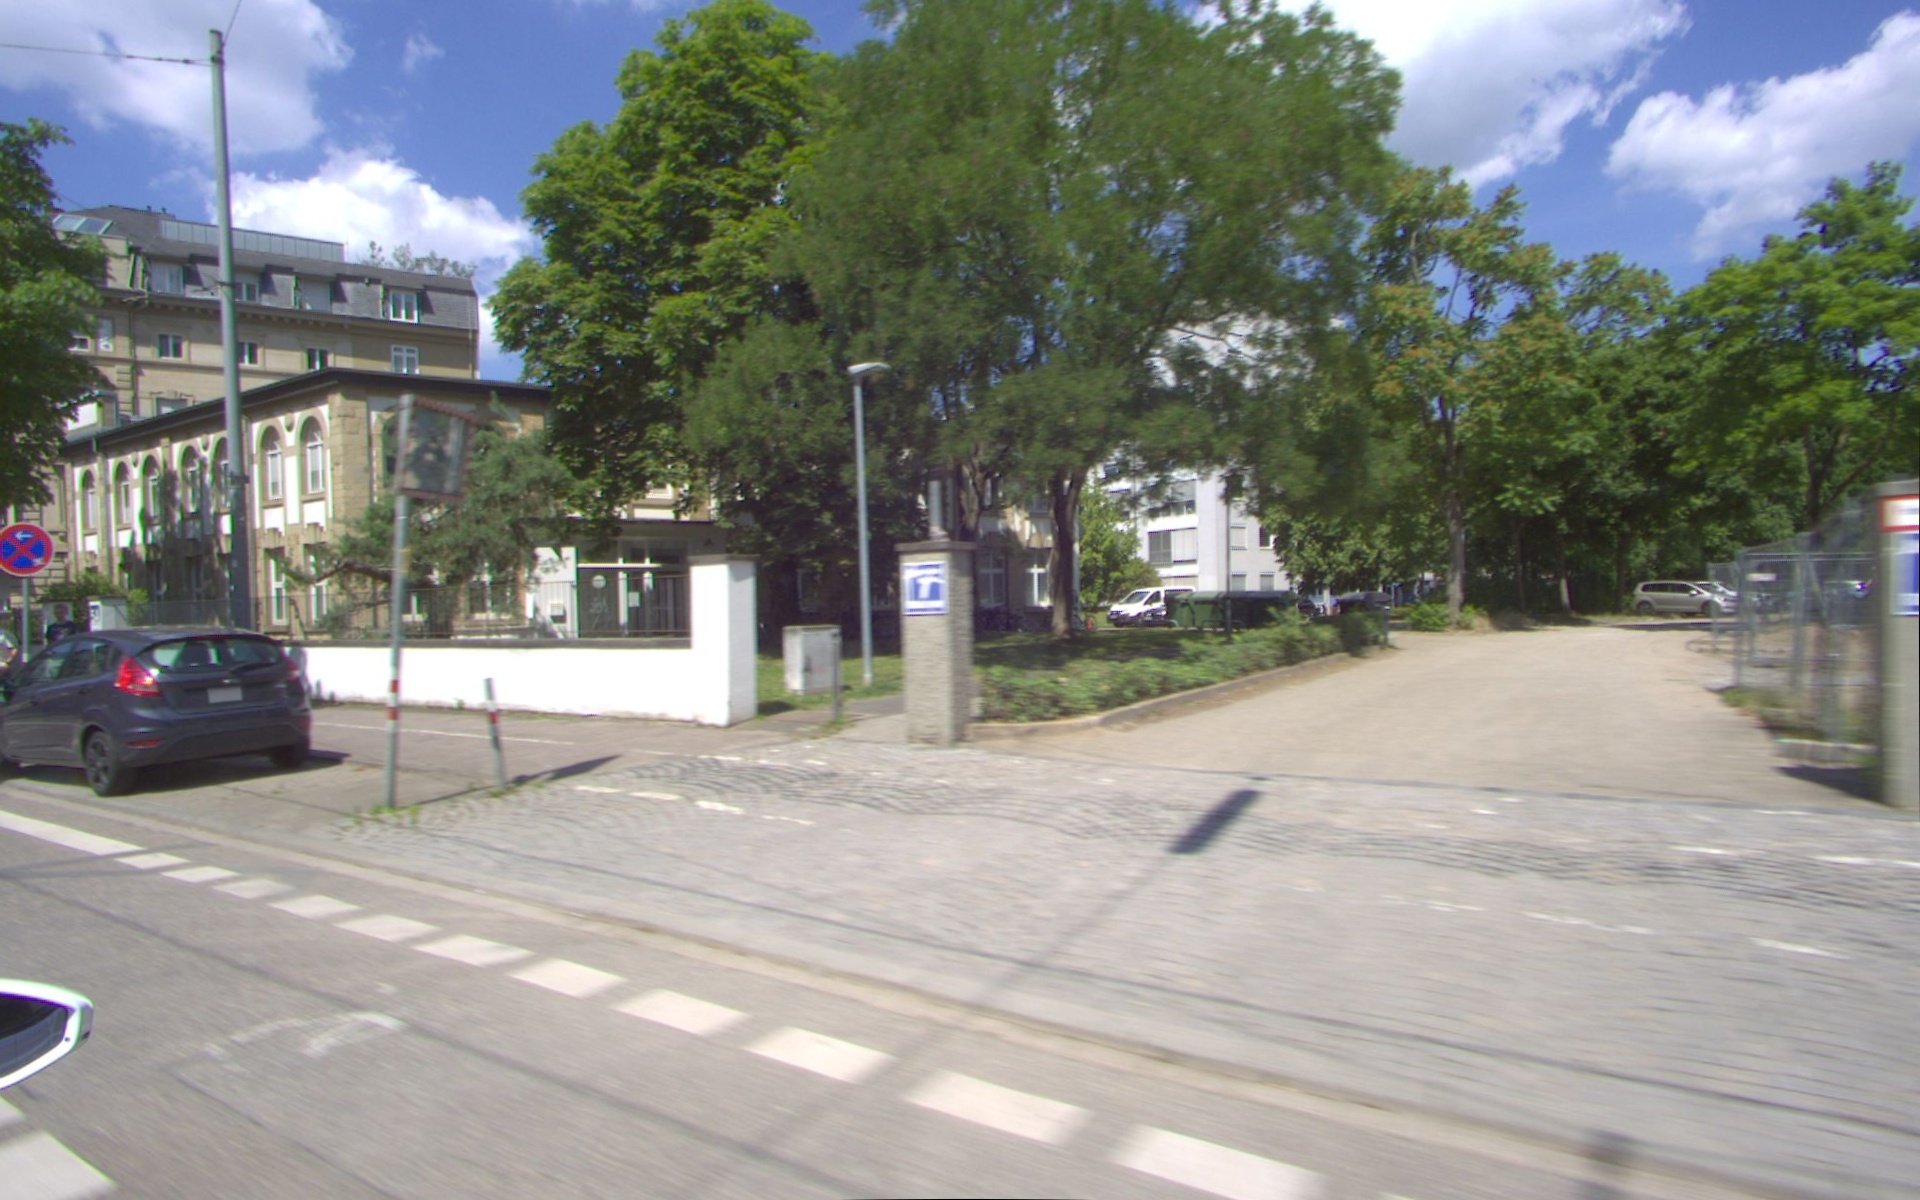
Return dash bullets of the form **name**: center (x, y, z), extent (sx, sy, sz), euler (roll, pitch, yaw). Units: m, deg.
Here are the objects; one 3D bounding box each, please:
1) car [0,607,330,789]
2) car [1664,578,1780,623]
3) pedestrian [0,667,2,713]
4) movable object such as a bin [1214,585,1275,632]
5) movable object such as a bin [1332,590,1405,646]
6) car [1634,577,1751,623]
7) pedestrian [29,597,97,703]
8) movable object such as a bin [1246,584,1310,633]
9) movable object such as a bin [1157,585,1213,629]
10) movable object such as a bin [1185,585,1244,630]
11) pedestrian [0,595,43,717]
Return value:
- **car**: center (-8.288, 0.886, 10.072), extent (3.814, 1.505, 1.637), euler (-2, 0, 29)
- **car**: center (36.283, 0.081, 47.786), extent (1.972, 2.039, 3.979), euler (1, -1, -31)
- **pedestrian**: center (-16.196, 0.933, 16.176), extent (0.795, 1.885, 0.576), euler (-1, 1, -4)
- **movable object such as a bin**: center (9.345, 0.269, 32.917), extent (1.391, 1.483, 1.379), euler (-2, 1, -36)
- **movable object such as a bin**: center (11.492, 0.494, 28.205), extent (1.382, 1.483, 1.388), euler (-1, 1, -10)
- **car**: center (34.184, 0.038, 46.820), extent (1.972, 2.039, 3.979), euler (1, -1, -31)
- **pedestrian**: center (-15.268, 0.839, 17.056), extent (0.608, 1.761, 0.478), euler (-2, 1, -4)
- **movable object such as a bin**: center (10.053, 0.274, 31.684), extent (1.391, 1.483, 1.378), euler (-2, 1, -38)
- **movable object such as a bin**: center (7.967, 0.244, 35.444), extent (1.391, 1.483, 1.378), euler (-2, 1, -38)
- **movable object such as a bin**: center (8.671, 0.247, 34.174), extent (1.391, 1.483, 1.378), euler (-2, 1, -38)
- **pedestrian**: center (-15.099, 0.868, 15.760), extent (0.712, 1.885, 0.576), euler (-1, 1, -4)
